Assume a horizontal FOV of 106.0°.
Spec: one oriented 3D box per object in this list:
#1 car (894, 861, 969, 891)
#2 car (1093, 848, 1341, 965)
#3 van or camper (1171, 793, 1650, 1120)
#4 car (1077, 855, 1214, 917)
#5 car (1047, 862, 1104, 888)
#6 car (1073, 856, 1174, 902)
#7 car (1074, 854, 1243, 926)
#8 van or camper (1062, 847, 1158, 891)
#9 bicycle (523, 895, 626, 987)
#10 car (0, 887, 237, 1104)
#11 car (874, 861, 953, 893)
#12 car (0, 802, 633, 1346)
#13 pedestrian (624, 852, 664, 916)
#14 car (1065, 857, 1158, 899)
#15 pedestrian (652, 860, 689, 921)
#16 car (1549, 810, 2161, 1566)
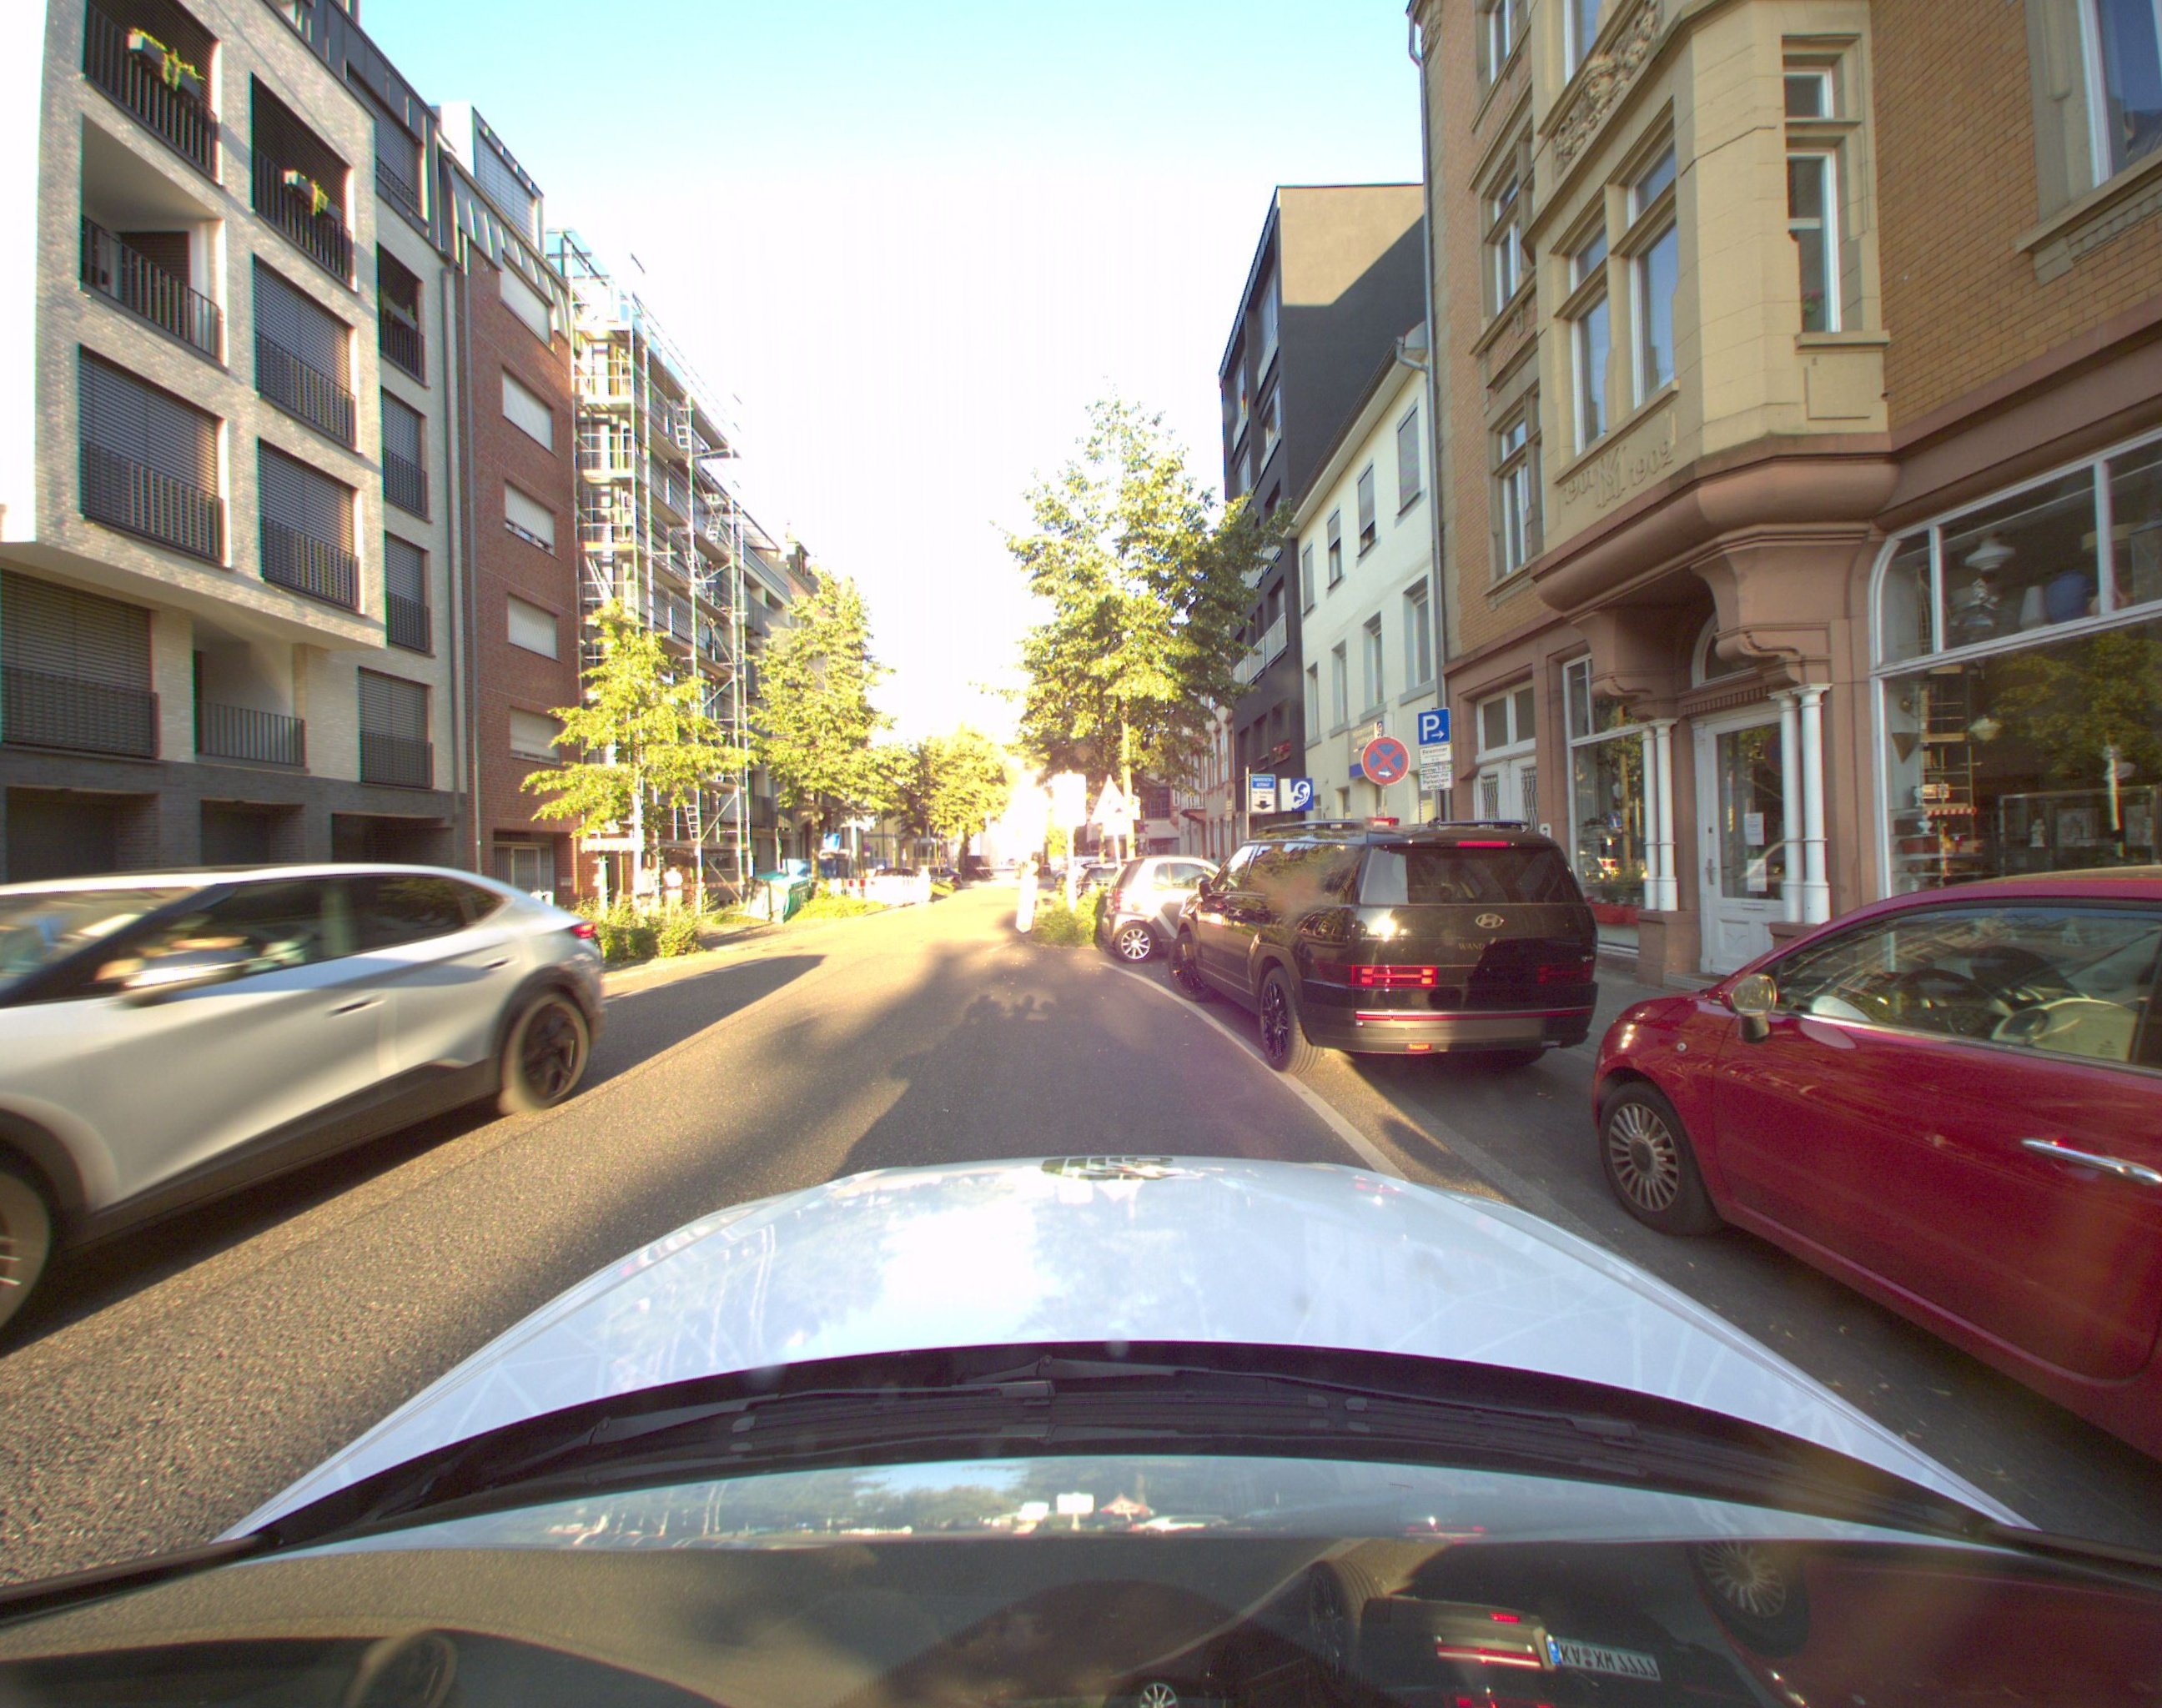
[{"bbox_3d":[-8.838,1.302,48.402,3.972,1.684,1.892,-1,0,1],"label":"car"},{"bbox_3d":[2.033,0.748,12.607,3.469,1.575,1.503,-2,0,-9],"label":"car"},{"bbox_3d":[2.160,0.580,6.876,1.887,1.807,4.452,-1,0,-6],"label":"van or camper"},{"bbox_3d":[1.746,0.867,23.023,3.676,1.670,1.856,0,-1,-3],"label":"car"},{"bbox_3d":[-0.286,1.297,51.057,1.834,1.568,3.720,-1,-1,33],"label":"car"},{"bbox_3d":[1.560,0.943,30.961,3.676,1.670,1.856,0,-1,-3],"label":"car"},{"bbox_3d":[1.836,0.858,20.215,3.986,1.670,1.856,0,-1,-3],"label":"car"},{"bbox_3d":[1.331,0.694,38.547,4.429,2.005,1.856,0,-1,-3],"label":"van or camper"},{"bbox_3d":[-7.372,1.231,11.931,0.505,1.179,1.552,-2,-1,0],"label":"bicycle"},{"bbox_3d":[-9.766,1.168,6.282,4.123,1.563,1.681,-3,-1,-23],"label":"car"},{"bbox_3d":[-9.363,1.277,45.717,3.972,1.684,1.892,-1,0,1],"label":"car"},{"bbox_3d":[-4.302,0.748,3.769,1.866,1.697,4.323,-4,0,2],"label":"car"},{"bbox_3d":[-12.541,0.854,23.378,0.739,1.783,0.656,-2,-1,0],"label":"pedestrian"},{"bbox_3d":[1.205,0.972,33.430,3.676,1.670,1.856,0,-1,-3],"label":"car"},{"bbox_3d":[-12.360,1.097,24.534,0.739,1.783,0.656,-2,-1,-2],"label":"pedestrian"},{"bbox_3d":[3.010,0.688,2.243,1.520,1.570,3.422,-1,0,1],"label":"car"}]
